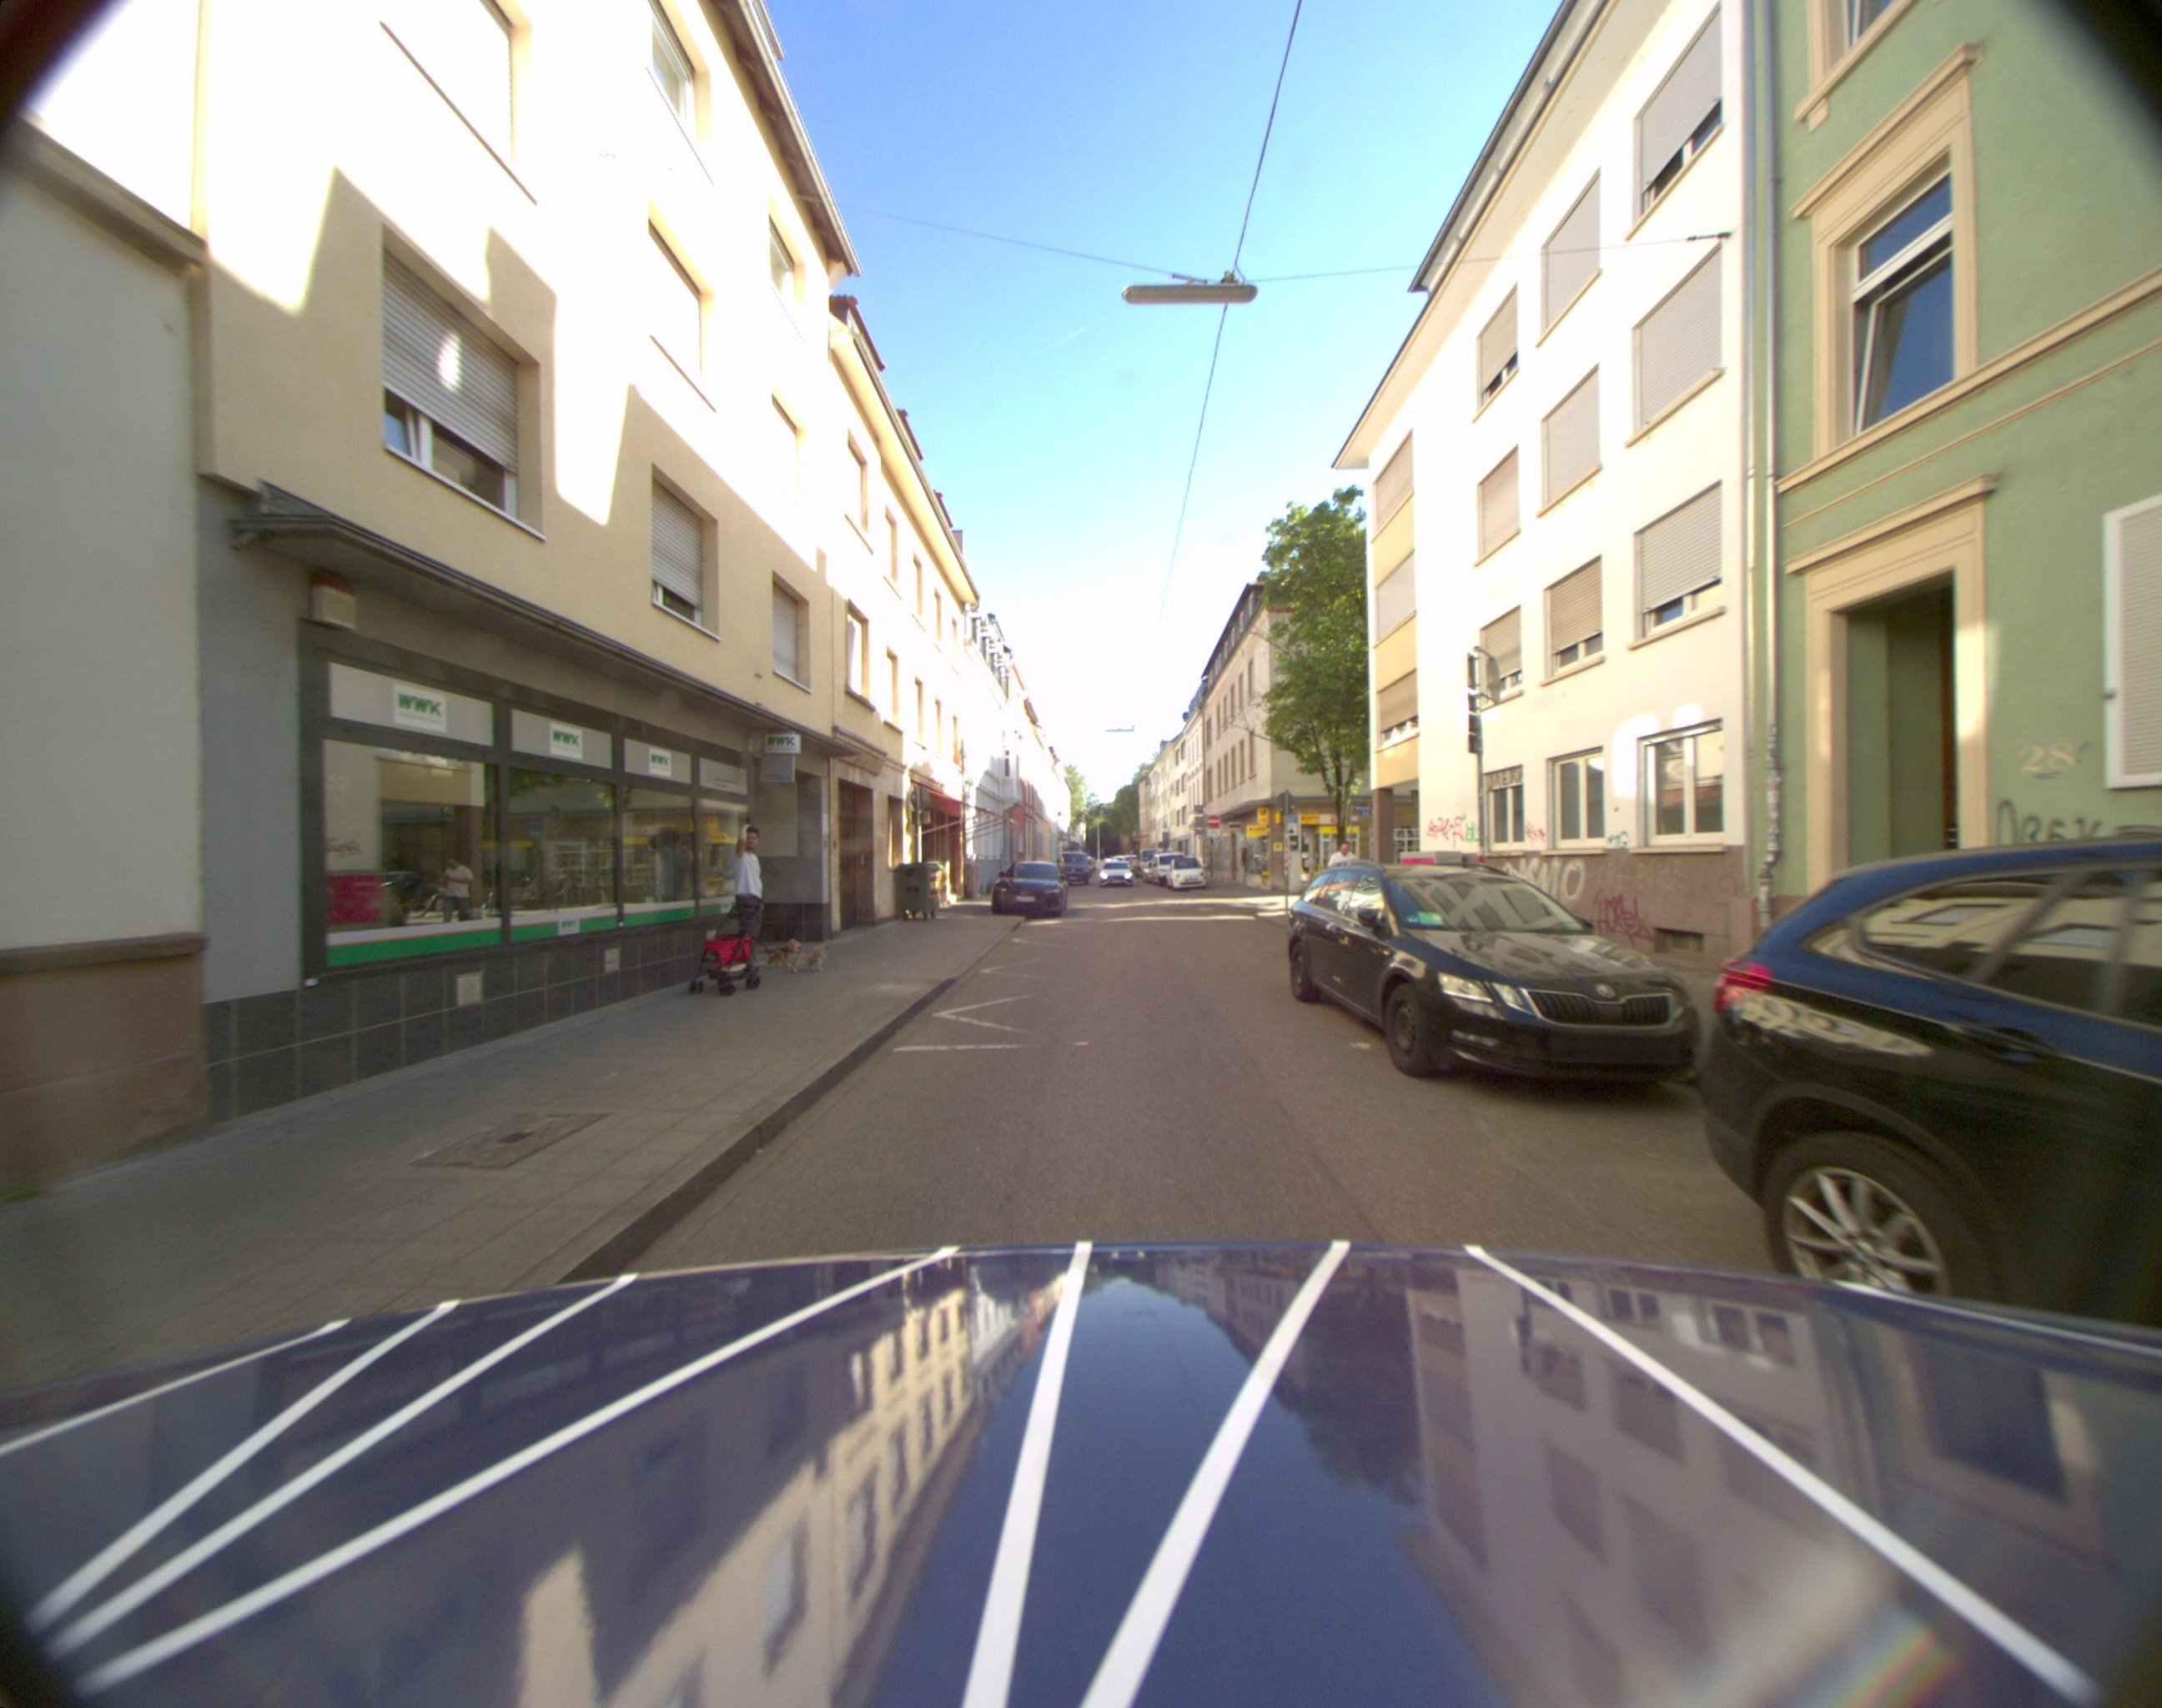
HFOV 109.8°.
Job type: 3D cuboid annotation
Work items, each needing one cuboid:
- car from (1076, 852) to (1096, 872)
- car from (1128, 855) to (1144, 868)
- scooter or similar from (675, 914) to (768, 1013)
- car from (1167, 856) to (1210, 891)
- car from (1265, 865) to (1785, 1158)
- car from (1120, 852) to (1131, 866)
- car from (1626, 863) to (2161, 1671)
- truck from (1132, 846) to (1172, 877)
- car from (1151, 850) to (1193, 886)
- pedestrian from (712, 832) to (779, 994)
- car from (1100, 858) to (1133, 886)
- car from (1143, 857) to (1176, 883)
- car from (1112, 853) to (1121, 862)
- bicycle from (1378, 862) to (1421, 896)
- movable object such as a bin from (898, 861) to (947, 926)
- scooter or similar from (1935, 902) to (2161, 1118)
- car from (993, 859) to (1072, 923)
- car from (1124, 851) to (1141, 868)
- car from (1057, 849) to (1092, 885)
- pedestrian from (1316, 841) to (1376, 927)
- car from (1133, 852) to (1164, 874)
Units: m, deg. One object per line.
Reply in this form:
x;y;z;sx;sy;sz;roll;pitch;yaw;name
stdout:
0.494;0.763;77.617;1.898;1.875;4.458;-1;1;2;car
6.588;0.912;90.962;1.730;1.483;4.115;-2;0;3;car
-3.829;1.140;8.142;0.491;0.939;0.869;1;0;8;scooter or similar
5.033;0.865;36.002;1.671;1.551;3.722;-1;0;2;car
3.040;0.910;6.635;1.718;1.480;4.852;2;0;1;car
6.816;0.766;117.169;1.585;1.971;4.068;-1;1;2;car
3.011;0.835;0.772;1.748;1.605;4.604;0;0;2;car
5.490;0.498;59.585;2.171;2.295;6.345;1;1;-4;truck
5.005;0.738;42.223;1.771;1.887;4.809;1;0;0;car
-4.000;0.681;9.107;0.651;1.849;0.747;1;0;-20;pedestrian
1.951;0.967;42.587;1.761;1.399;4.022;-1;1;2;car
4.922;0.967;48.231;1.669;1.514;4.489;1;0;1;car
6.869;0.746;146.826;1.786;1.674;4.022;-1;1;2;car
11.832;0.916;28.324;0.709;1.136;2.308;-1;1;3;bicycle
-3.690;0.898;17.762;0.748;1.428;1.372;2;1;3;movable object such as a bin
6.604;0.958;4.862;0.455;1.175;1.691;-1;1;5;scooter or similar
-1.269;0.962;21.904;1.805;1.570;4.897;-2;0;2;car
6.571;0.637;97.470;1.913;2.076;4.697;-1;0;2;car
-0.335;0.738;46.843;1.975;2.017;4.899;-2;0;1;car
5.820;0.628;16.759;0.913;1.822;1.245;-1;1;1;pedestrian
5.980;0.761;67.870;1.918;1.871;5.183;1;0;-3;car
